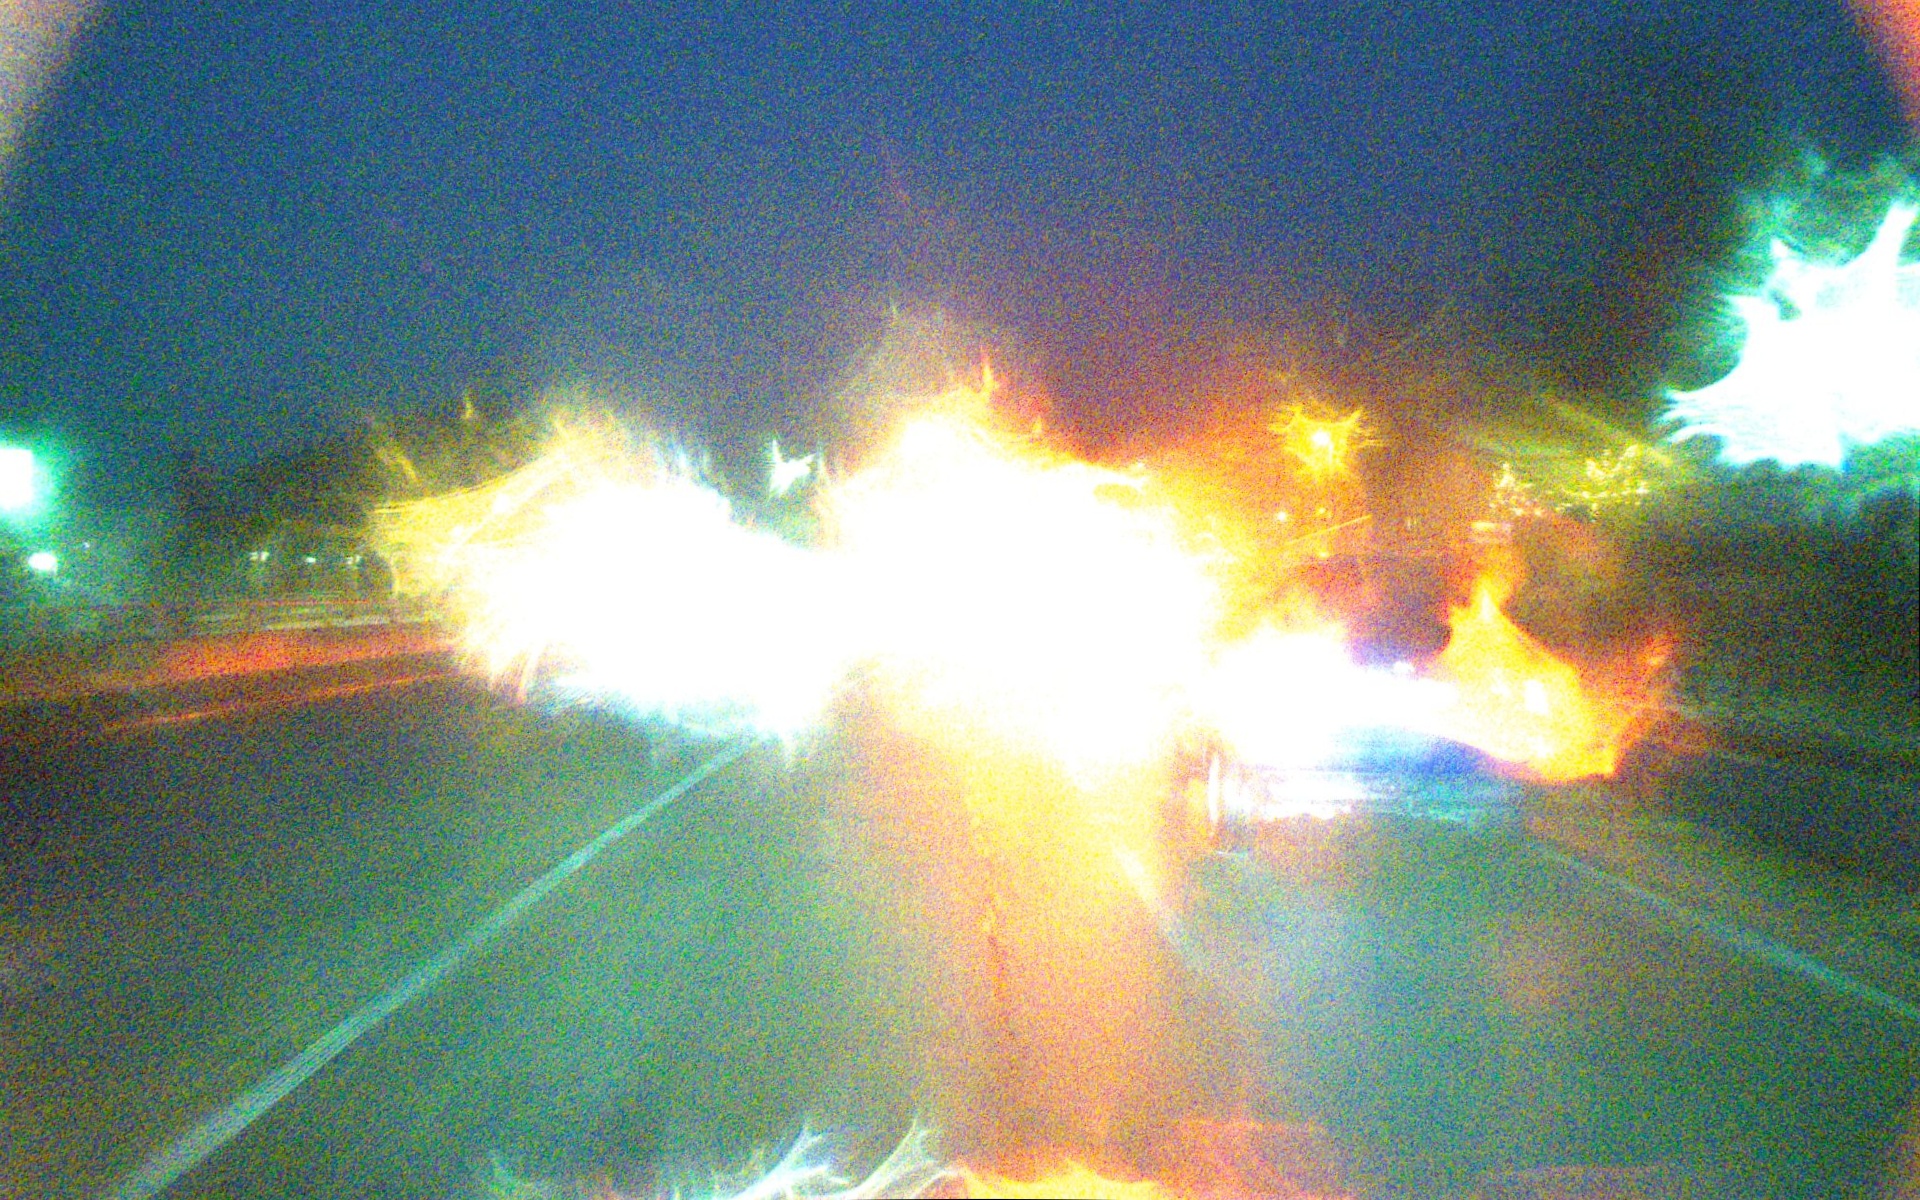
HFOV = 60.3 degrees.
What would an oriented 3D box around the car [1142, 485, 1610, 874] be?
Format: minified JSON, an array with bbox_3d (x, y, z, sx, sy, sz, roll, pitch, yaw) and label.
[{"bbox_3d":[2.405,0.391,10.742,1.903,2.006,4.217,1,1,-1],"label":"car"}]

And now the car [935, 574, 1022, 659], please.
[{"bbox_3d":[0.444,0.329,34.733,1.659,1.658,3.854,1,0,3],"label":"car"}]

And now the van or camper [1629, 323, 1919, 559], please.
[{"bbox_3d":[12.978,-2.138,24.242,2.539,2.959,6.330,0,0,-17],"label":"van or camper"}]

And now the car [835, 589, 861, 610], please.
[{"bbox_3d":[-8.369,-0.022,123.181,1.677,1.525,3.723,-1,1,-8],"label":"car"}]

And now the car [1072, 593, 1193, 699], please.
[{"bbox_3d":[2.712,0.652,26.050,1.730,1.475,4.221,1,1,6],"label":"car"}]

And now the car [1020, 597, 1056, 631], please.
[{"bbox_3d":[3.579,0.636,76.204,1.628,1.475,4.051,1,0,2],"label":"car"}]

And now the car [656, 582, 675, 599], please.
[{"bbox_3d":[-34.302,-1.108,192.707,1.956,1.945,4.734,1,0,-8],"label":"car"}]

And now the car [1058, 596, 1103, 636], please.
[{"bbox_3d":[4.599,0.610,62.891,1.628,1.475,4.052,0,0,5],"label":"car"}]

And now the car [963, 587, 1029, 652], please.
[{"bbox_3d":[1.019,0.504,45.214,1.673,1.666,3.732,-1,1,3],"label":"car"}]
